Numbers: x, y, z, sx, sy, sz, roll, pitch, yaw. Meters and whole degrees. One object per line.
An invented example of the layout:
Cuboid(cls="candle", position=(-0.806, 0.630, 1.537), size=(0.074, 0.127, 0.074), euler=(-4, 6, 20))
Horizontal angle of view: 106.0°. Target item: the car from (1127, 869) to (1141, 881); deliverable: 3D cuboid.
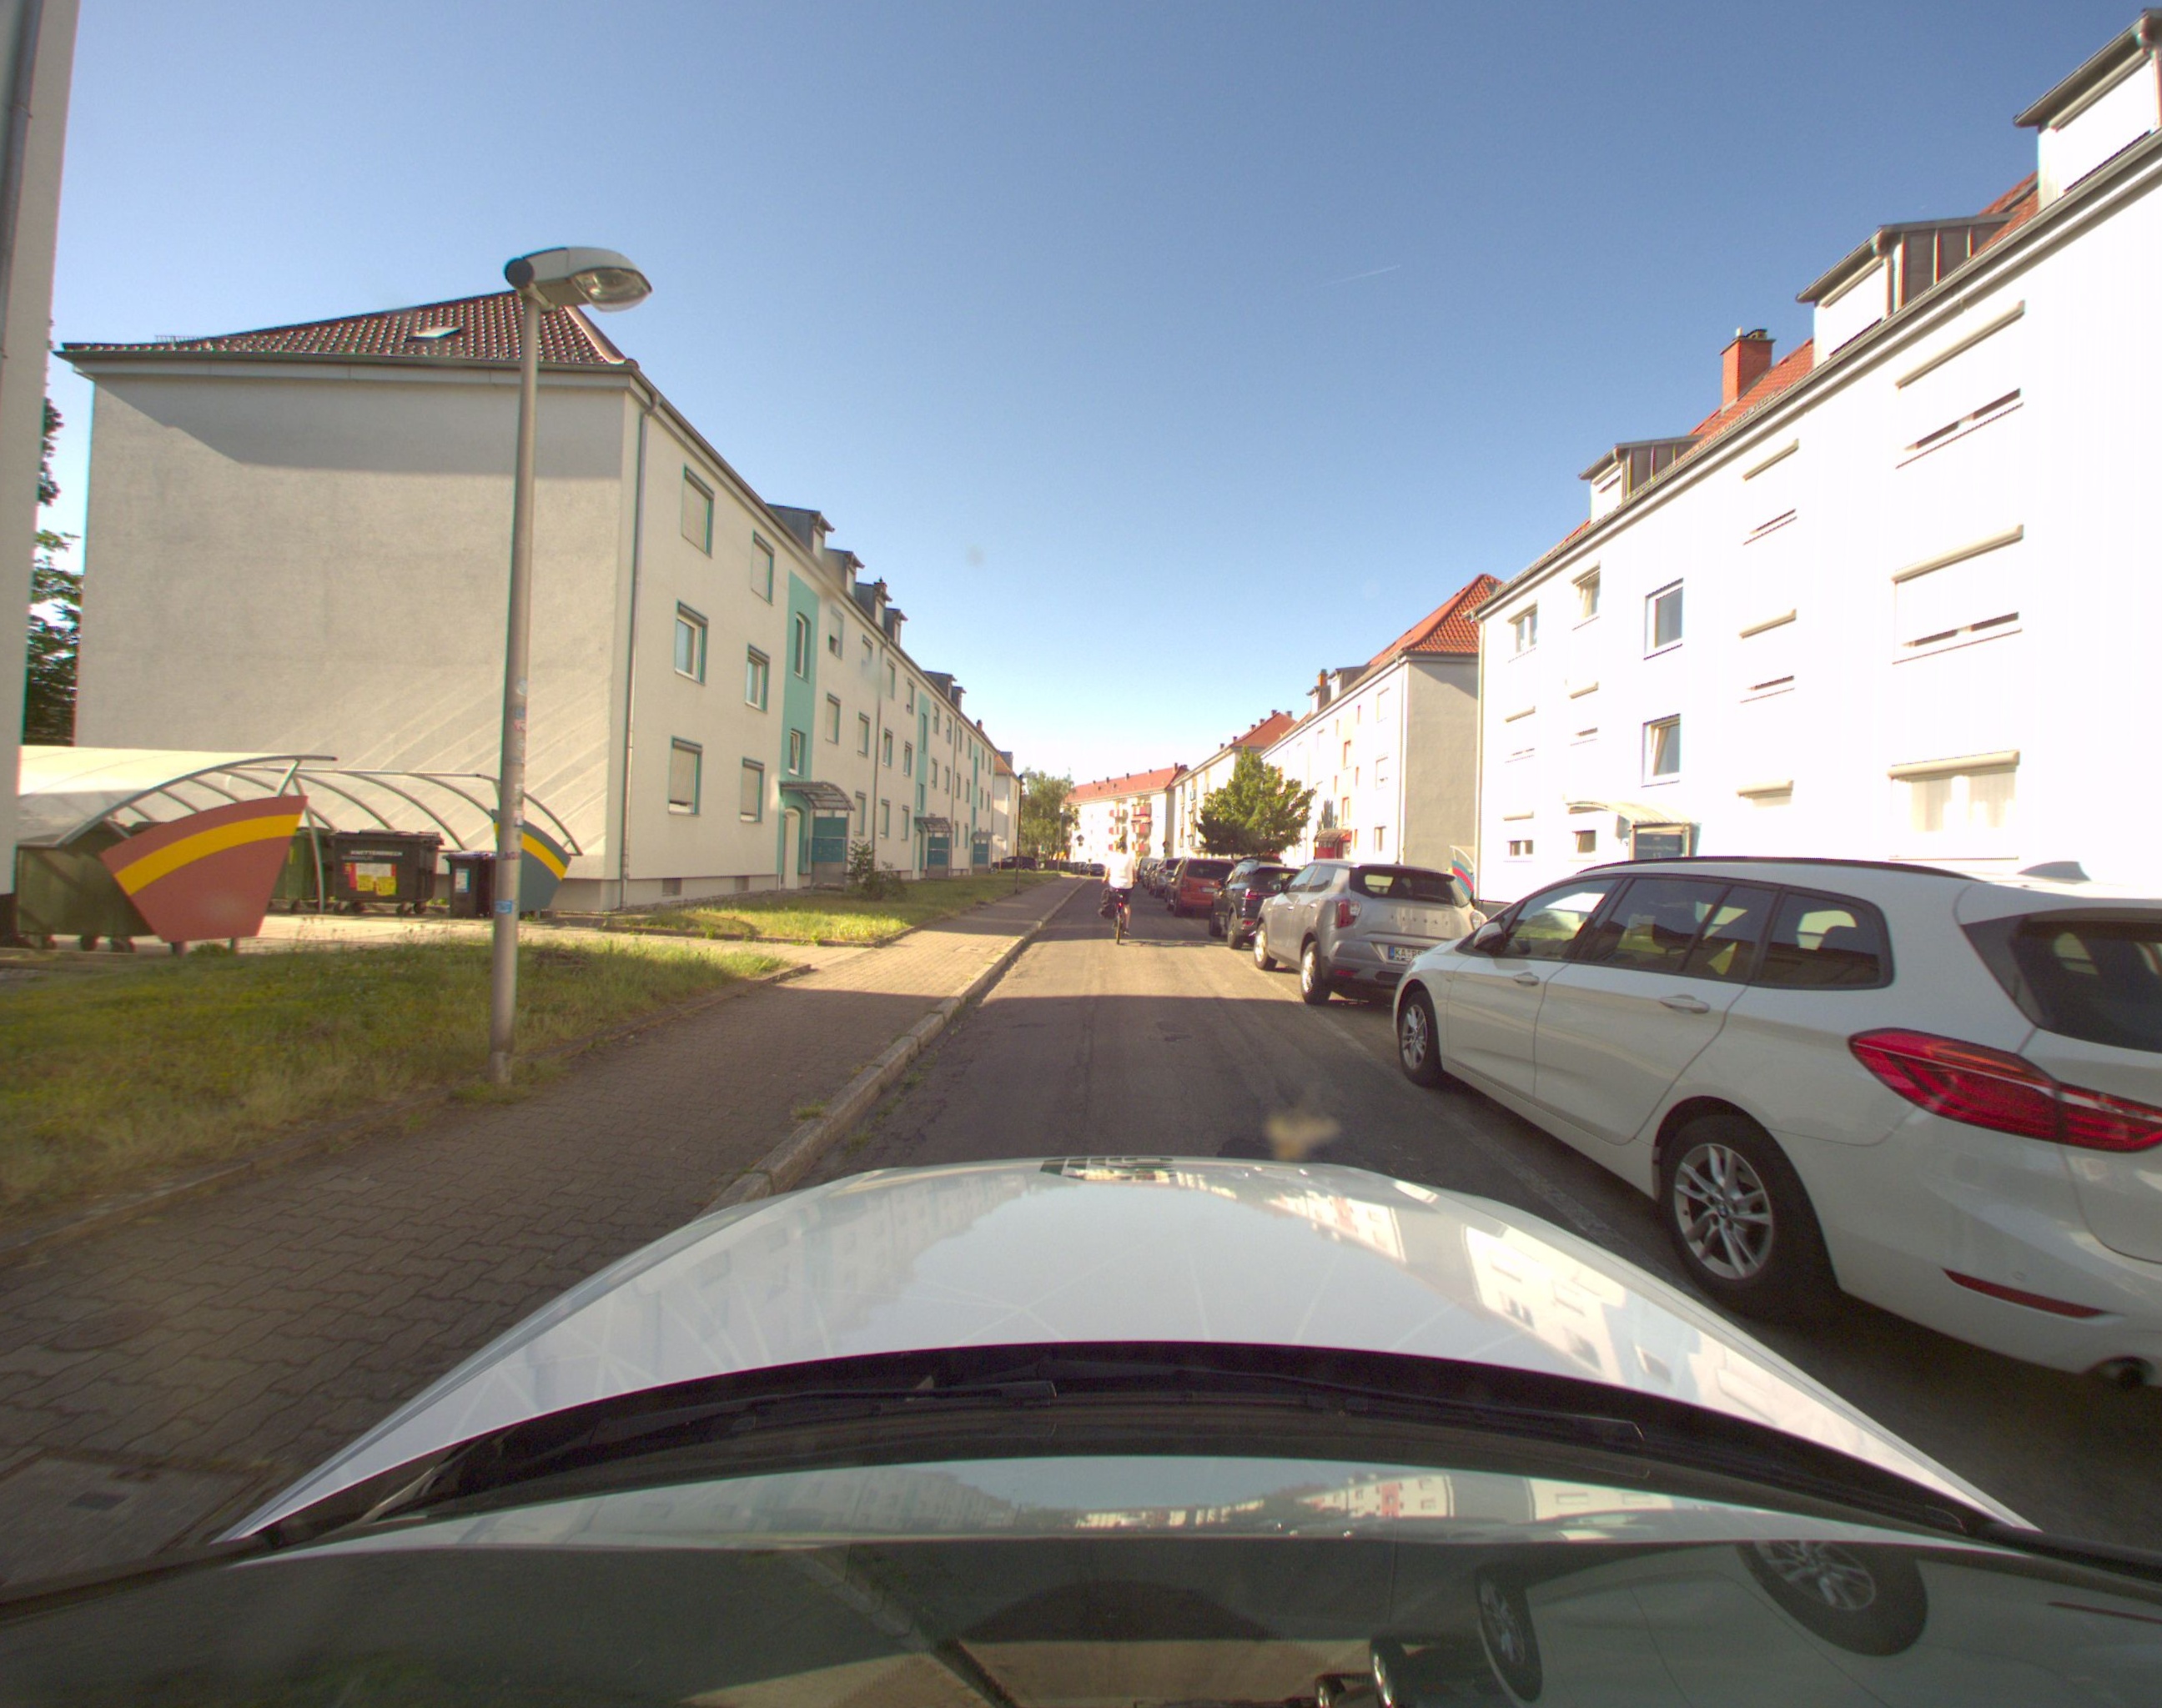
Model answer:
Cuboid(cls="car", position=(6.519, 2.509, 99.839), size=(1.464, 1.335, 3.140), euler=(3, -1, 0))

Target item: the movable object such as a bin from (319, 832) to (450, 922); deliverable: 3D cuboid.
Cuboid(cls="movable object such as a bin", position=(-11.097, 0.359, 13.026), size=(1.249, 1.356, 0.903), euler=(2, -1, -10))

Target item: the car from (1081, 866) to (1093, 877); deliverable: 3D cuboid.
Cuboid(cls="car", position=(0.716, 2.211, 101.452), size=(1.465, 1.335, 3.139), euler=(-2, -1, -1))

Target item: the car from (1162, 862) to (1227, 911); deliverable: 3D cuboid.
Cuboid(cls="car", position=(3.915, 1.081, 28.626), size=(1.613, 1.460, 3.839), euler=(4, -1, -1))

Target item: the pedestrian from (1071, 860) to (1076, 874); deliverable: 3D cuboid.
Cuboid(cls="pedestrian", position=(-0.757, 1.411, 86.559), size=(0.432, 1.427, 0.543), euler=(2, -1, 2))

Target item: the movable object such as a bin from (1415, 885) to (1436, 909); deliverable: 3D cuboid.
Cuboid(cls="movable object such as a bin", position=(13.126, 1.636, 31.034), size=(0.521, 0.886, 0.633), euler=(2, -1, 2))

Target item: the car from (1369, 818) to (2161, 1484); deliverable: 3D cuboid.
Cuboid(cls="car", position=(3.104, 0.764, 4.178), size=(1.684, 1.575, 4.435), euler=(3, 0, 1))

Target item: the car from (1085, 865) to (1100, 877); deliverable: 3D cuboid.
Cuboid(cls="car", position=(1.324, 1.937, 94.776), size=(1.465, 1.335, 3.138), euler=(-2, -1, -2))

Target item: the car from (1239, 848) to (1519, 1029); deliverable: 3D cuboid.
Cuboid(cls="car", position=(3.301, 0.830, 10.063), size=(1.745, 1.617, 4.451), euler=(4, 0, 0))

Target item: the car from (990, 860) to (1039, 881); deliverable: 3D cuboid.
Cuboid(cls="car", position=(-5.840, 1.444, 71.808), size=(4.221, 1.638, 1.581), euler=(2, -1, -3))

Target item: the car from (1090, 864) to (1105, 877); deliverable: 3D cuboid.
Cuboid(cls="car", position=(1.854, 1.798, 90.392), size=(1.466, 1.335, 3.137), euler=(-1, -1, -3))

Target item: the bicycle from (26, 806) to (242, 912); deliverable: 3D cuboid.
Cuboid(cls="bicycle", position=(-14.869, 0.086, 12.909), size=(0.700, 1.510, 2.199), euler=(3, -1, 2))

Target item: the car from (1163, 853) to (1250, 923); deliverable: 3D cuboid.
Cuboid(cls="car", position=(3.462, 0.908, 23.141), size=(1.855, 1.668, 4.128), euler=(4, -1, 2))

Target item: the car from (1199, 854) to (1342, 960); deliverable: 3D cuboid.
Cuboid(cls="car", position=(3.420, 0.889, 15.511), size=(1.706, 1.595, 4.399), euler=(5, 0, 2))

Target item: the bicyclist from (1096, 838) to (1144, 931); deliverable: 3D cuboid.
Cuboid(cls="bicyclist", position=(0.702, 0.547, 14.877), size=(0.806, 1.643, 0.898), euler=(1, -1, -1))

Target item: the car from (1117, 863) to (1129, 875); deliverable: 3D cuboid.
Cuboid(cls="car", position=(5.453, 1.986, 106.706), size=(1.377, 1.497, 3.076), euler=(3, -1, 0))

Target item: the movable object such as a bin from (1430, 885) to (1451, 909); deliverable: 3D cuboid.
Cuboid(cls="movable object such as a bin", position=(13.680, 1.638, 31.006), size=(0.521, 0.886, 0.633), euler=(2, -1, 2))

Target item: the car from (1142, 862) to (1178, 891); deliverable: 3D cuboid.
Cuboid(cls="car", position=(4.133, 1.151, 43.015), size=(1.553, 1.411, 3.935), euler=(3, -1, 2))

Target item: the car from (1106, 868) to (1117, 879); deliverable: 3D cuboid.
Cuboid(cls="car", position=(4.440, 2.875, 119.464), size=(1.464, 1.516, 3.076), euler=(3, -1, 0))

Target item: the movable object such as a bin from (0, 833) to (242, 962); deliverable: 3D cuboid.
Cuboid(cls="movable object such as a bin", position=(-9.541, 0.409, 8.140), size=(1.309, 1.168, 0.910), euler=(2, -1, 1))

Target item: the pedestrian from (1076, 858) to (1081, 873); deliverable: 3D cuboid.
Cuboid(cls="pedestrian", position=(-0.300, 1.261, 86.622), size=(0.432, 1.574, 0.543), euler=(2, -1, 2))

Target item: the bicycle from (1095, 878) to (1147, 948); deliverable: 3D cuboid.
Cuboid(cls="bicycle", position=(0.693, 1.022, 14.740), size=(0.806, 1.128, 2.101), euler=(1, -1, 0))

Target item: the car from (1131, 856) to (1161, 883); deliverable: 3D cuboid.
Cuboid(cls="car", position=(4.545, 1.049, 57.267), size=(1.669, 1.739, 3.942), euler=(3, -1, 0))

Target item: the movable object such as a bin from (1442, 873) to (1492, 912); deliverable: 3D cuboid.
Cuboid(cls="movable object such as a bin", position=(14.630, 1.436, 30.907), size=(1.355, 1.416, 1.188), euler=(2, -1, 1))

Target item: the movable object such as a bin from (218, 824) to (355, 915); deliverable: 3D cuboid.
Cuboid(cls="movable object such as a bin", position=(-12.424, 0.243, 12.782), size=(1.254, 1.348, 0.801), euler=(2, -1, -9))

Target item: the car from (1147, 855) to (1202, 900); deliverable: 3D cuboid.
Cuboid(cls="car", position=(3.811, 0.929, 33.764), size=(1.695, 1.671, 4.379), euler=(3, 0, 0))
